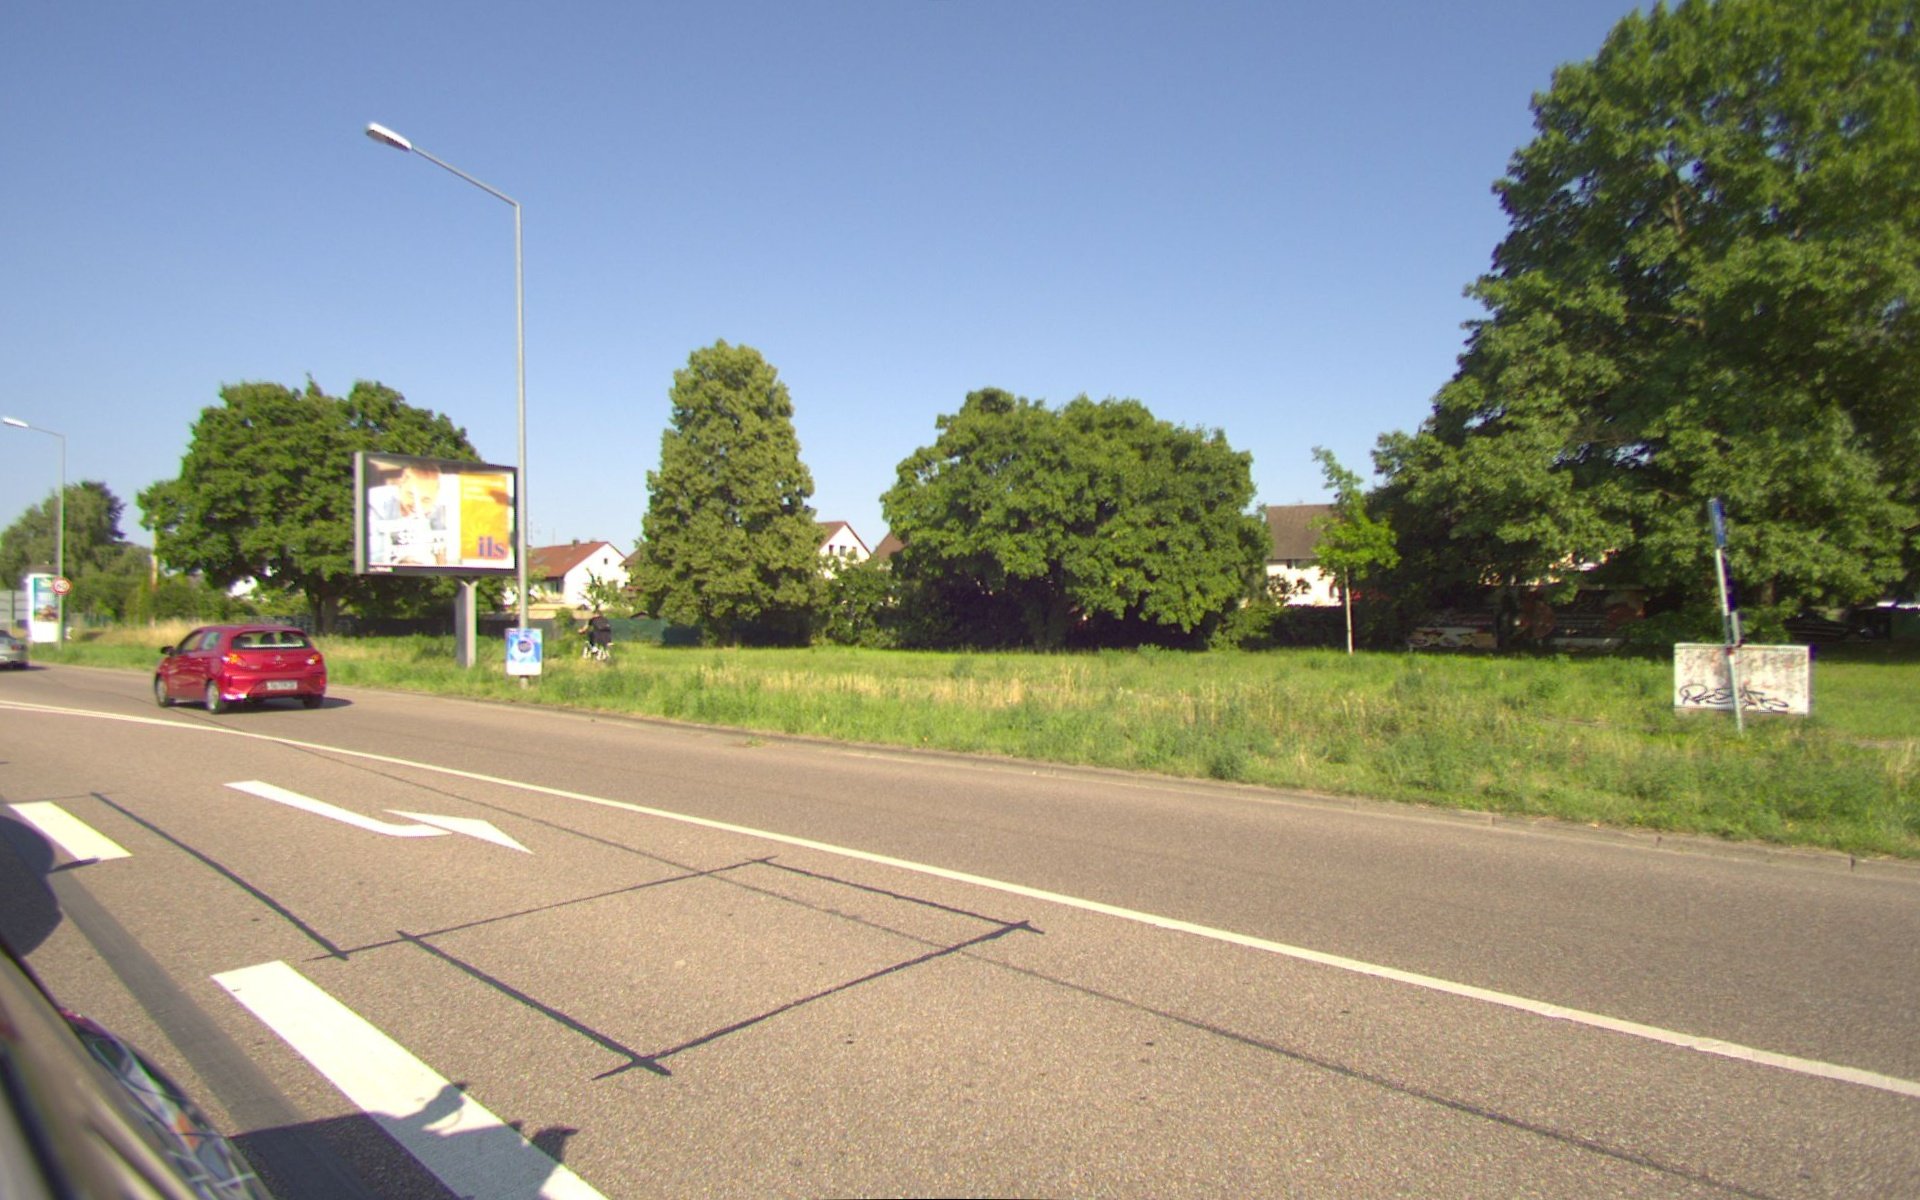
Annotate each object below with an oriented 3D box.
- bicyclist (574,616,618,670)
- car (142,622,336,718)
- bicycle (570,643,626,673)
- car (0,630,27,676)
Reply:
[{"bbox_3d":[-9.911,1.148,27.534,1.069,1.439,0.631,-1,-1,34],"label":"bicyclist"},{"bbox_3d":[-12.645,1.145,17.693,3.669,1.510,1.679,-1,-2,36],"label":"car"},{"bbox_3d":[-9.846,1.568,27.501,1.830,0.759,0.450,-1,-1,35],"label":"bicycle"},{"bbox_3d":[-29.710,1.571,30.469,4.281,1.320,1.762,-1,-1,39],"label":"car"}]
